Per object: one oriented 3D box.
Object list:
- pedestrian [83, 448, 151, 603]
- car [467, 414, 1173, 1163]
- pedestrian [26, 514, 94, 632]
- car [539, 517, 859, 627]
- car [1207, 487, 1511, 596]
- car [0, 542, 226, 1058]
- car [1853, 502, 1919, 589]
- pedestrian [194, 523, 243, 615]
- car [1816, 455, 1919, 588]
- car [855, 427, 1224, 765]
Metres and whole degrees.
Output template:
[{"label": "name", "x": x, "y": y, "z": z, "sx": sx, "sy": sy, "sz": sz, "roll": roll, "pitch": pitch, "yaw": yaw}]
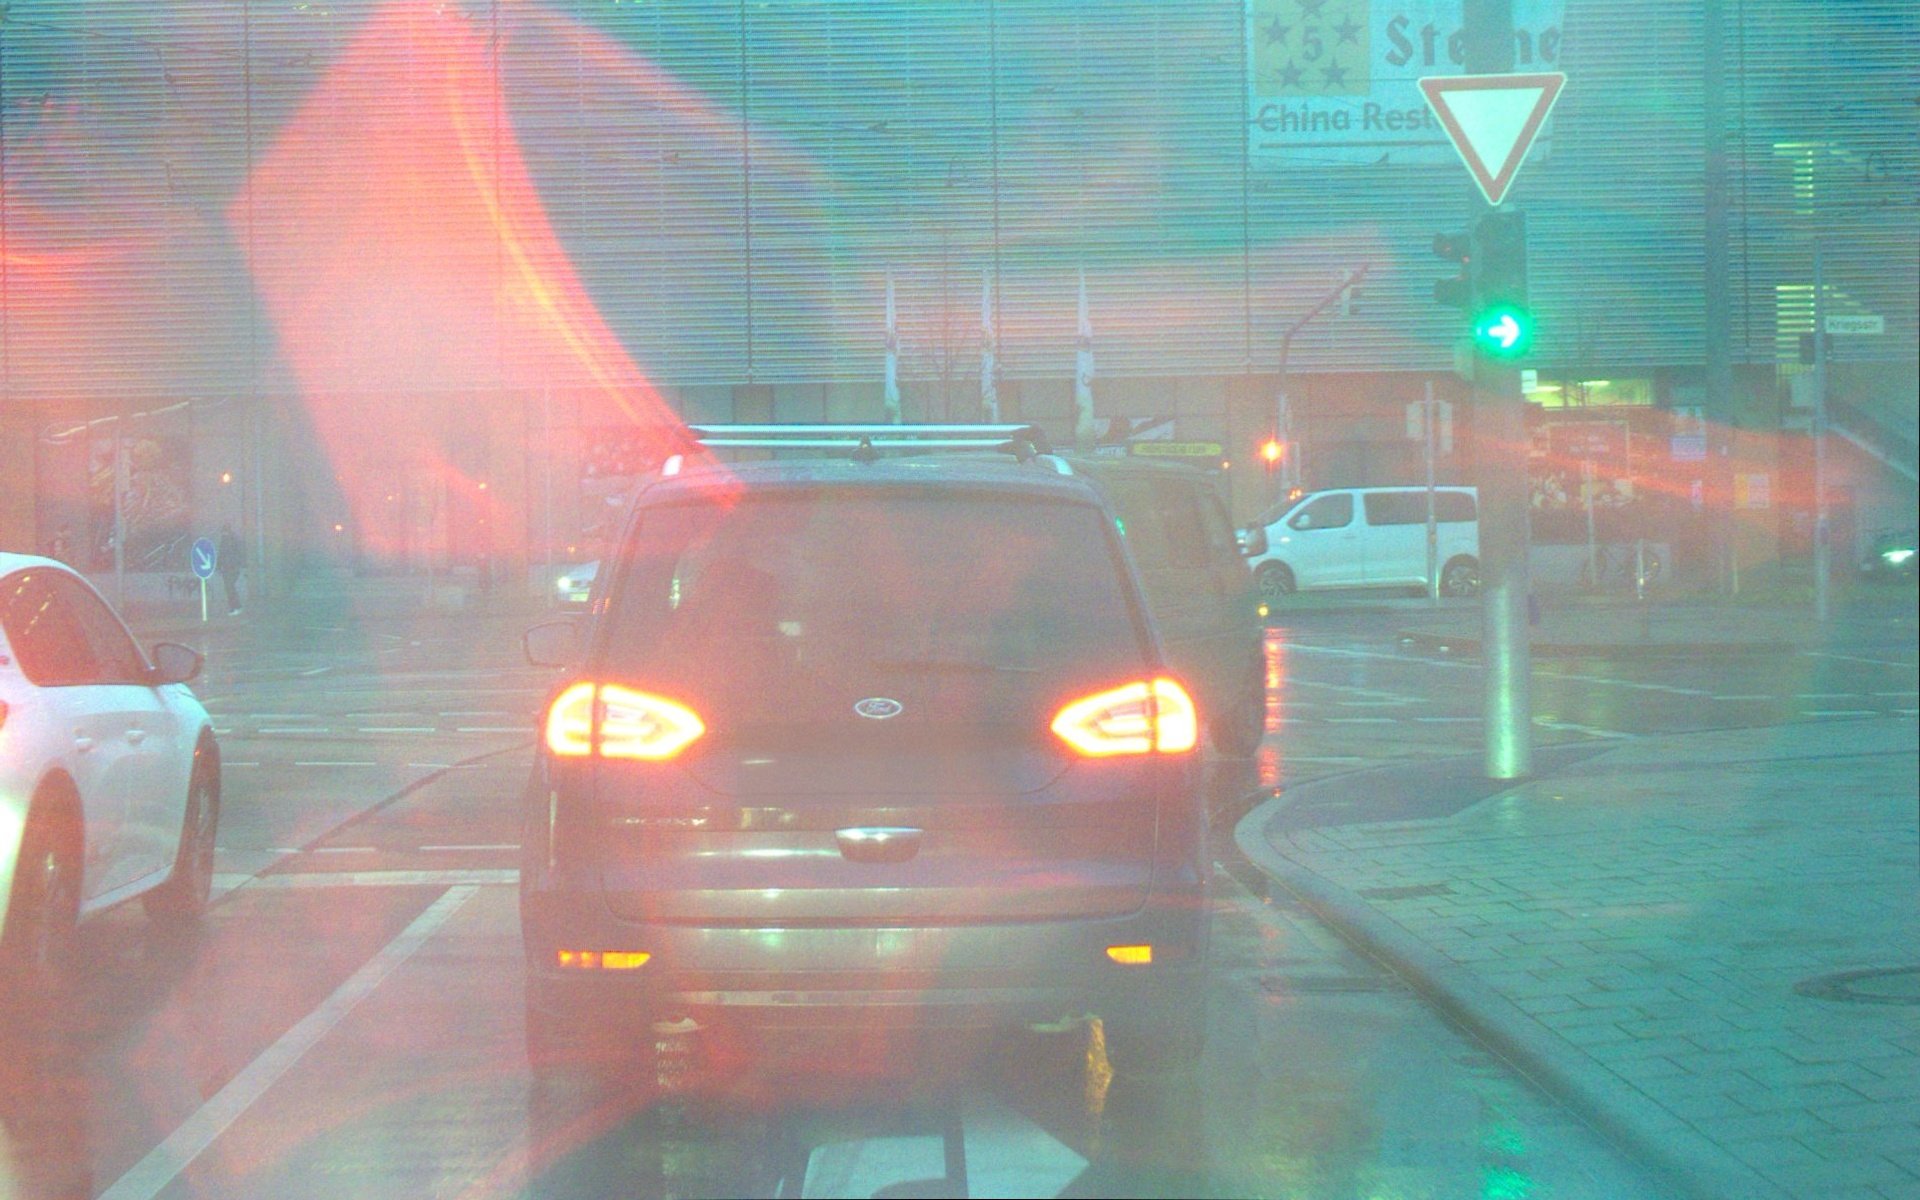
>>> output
[{"label": "pedestrian", "x": -16.012, "y": -1.412, "z": 65.326, "sx": 0.963, "sy": 2.915, "sz": 1.114, "roll": 0, "pitch": 0, "yaw": 2}, {"label": "car", "x": -0.280, "y": 0.411, "z": 10.267, "sx": 1.674, "sy": 1.773, "sz": 4.000, "roll": 1, "pitch": 1, "yaw": 2}, {"label": "pedestrian", "x": -18.610, "y": -0.561, "z": 71.111, "sx": 1.110, "sy": 2.431, "sz": 0.966, "roll": 0, "pitch": 0, "yaw": 2}, {"label": "car", "x": -3.737, "y": -0.421, "z": 49.669, "sx": 4.329, "sy": 1.481, "sz": 1.865, "roll": -2, "pitch": 1, "yaw": -42}, {"label": "car", "x": 6.545, "y": -0.966, "z": 56.569, "sx": 4.636, "sy": 1.671, "sz": 1.787, "roll": -1, "pitch": 1, "yaw": -10}, {"label": "car", "x": -3.695, "y": 0.542, "z": 11.666, "sx": 1.758, "sy": 1.458, "sz": 3.918, "roll": 0, "pitch": 1, "yaw": -3}, {"label": "car", "x": 17.506, "y": -0.961, "z": 58.008, "sx": 4.408, "sy": 1.439, "sz": 1.630, "roll": -1, "pitch": 1, "yaw": -8}, {"label": "pedestrian", "x": -14.463, "y": -0.605, "z": 67.072, "sx": 0.787, "sy": 1.781, "sz": 0.733, "roll": -1, "pitch": 1, "yaw": -3}, {"label": "car", "x": 16.656, "y": -1.280, "z": 54.590, "sx": 5.643, "sy": 2.052, "sz": 1.953, "roll": -1, "pitch": 1, "yaw": 4}, {"label": "car", "x": 0.593, "y": -0.072, "z": 20.738, "sx": 1.844, "sy": 1.800, "sz": 4.486, "roll": -1, "pitch": 1, "yaw": 6}]
